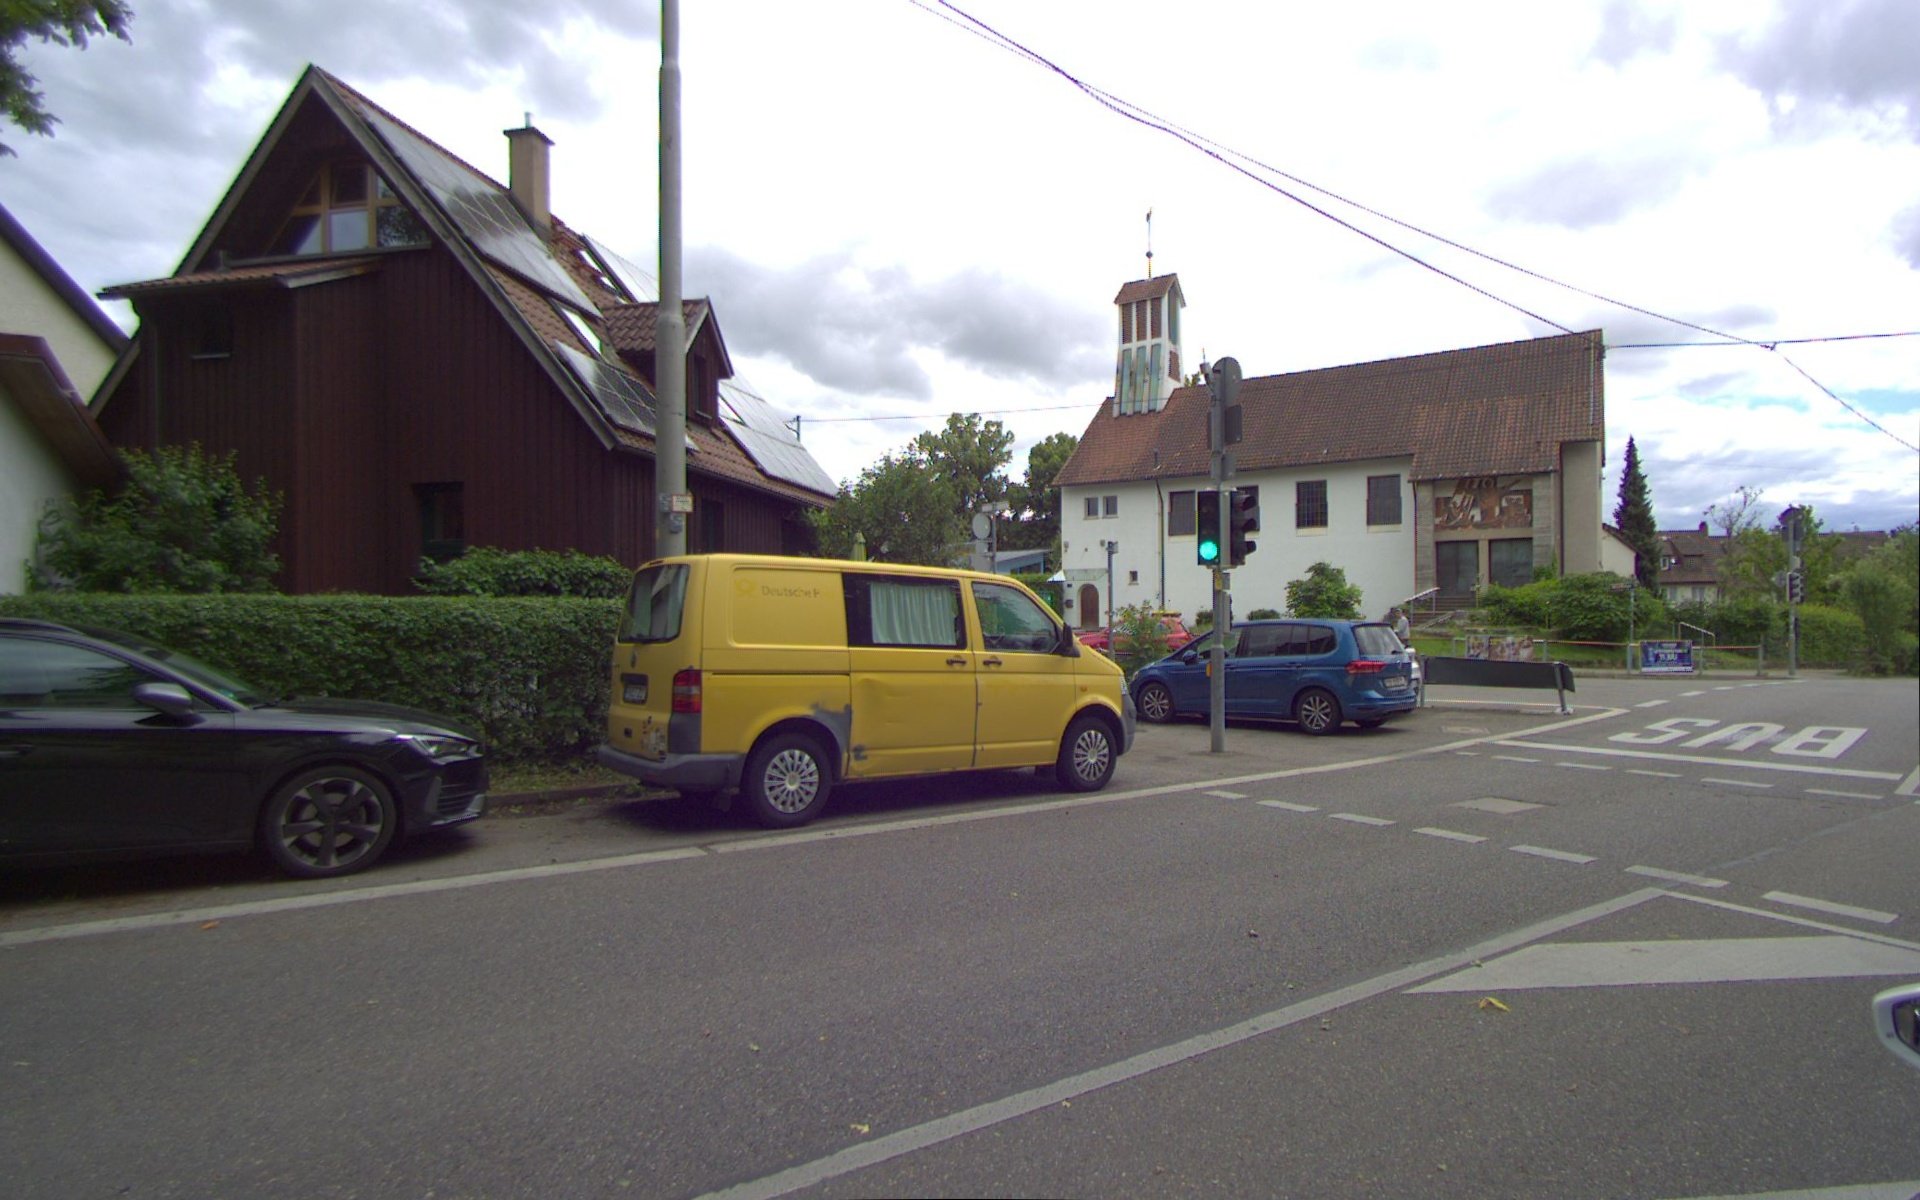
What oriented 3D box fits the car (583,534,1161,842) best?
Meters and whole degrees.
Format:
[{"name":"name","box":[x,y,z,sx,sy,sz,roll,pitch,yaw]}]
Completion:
[{"name":"car","box":[-0.574,0.657,8.776,4.754,2.015,1.903,2,-2,-36]}]

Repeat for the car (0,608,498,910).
[{"name":"car","box":[-5.139,0.793,5.621,4.463,1.469,1.736,2,-2,-32]}]

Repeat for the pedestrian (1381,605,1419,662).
[{"name":"pedestrian","box":[13.239,1.007,30.217,0.814,1.674,0.690,2,0,5]}]

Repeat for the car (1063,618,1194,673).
[{"name":"car","box":[4.864,1.286,28.866,3.610,1.509,1.776,-1,-1,13]}]

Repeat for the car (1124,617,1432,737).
[{"name":"car","box":[4.713,1.052,15.319,1.832,1.567,4.127,0,-1,-42]}]

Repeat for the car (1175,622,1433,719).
[{"name":"car","box":[5.895,1.133,17.462,3.849,1.491,1.835,-1,-1,42]}]

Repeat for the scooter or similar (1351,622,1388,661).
[{"name":"scooter or similar","box":[12.355,1.251,30.314,0.871,1.109,0.612,2,0,5]}]
